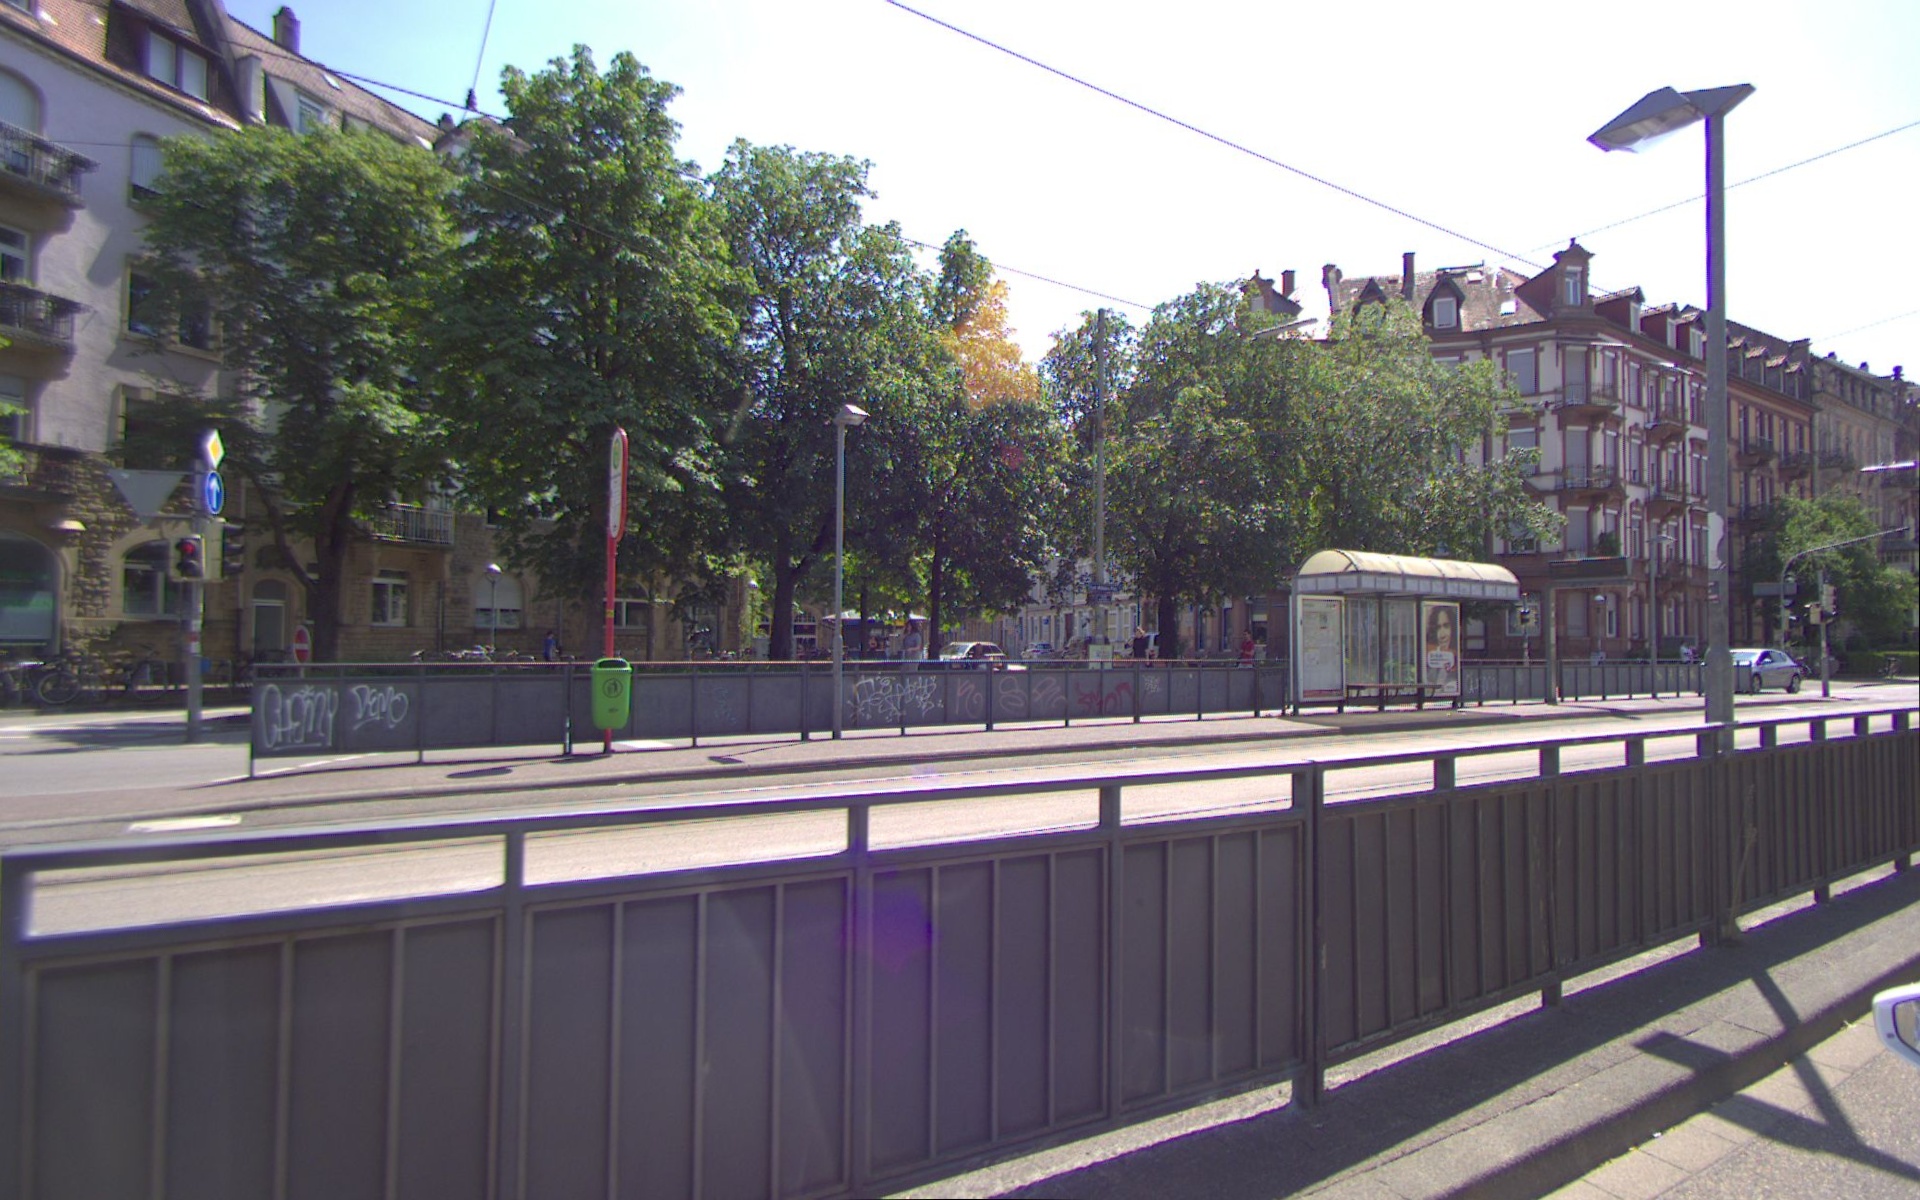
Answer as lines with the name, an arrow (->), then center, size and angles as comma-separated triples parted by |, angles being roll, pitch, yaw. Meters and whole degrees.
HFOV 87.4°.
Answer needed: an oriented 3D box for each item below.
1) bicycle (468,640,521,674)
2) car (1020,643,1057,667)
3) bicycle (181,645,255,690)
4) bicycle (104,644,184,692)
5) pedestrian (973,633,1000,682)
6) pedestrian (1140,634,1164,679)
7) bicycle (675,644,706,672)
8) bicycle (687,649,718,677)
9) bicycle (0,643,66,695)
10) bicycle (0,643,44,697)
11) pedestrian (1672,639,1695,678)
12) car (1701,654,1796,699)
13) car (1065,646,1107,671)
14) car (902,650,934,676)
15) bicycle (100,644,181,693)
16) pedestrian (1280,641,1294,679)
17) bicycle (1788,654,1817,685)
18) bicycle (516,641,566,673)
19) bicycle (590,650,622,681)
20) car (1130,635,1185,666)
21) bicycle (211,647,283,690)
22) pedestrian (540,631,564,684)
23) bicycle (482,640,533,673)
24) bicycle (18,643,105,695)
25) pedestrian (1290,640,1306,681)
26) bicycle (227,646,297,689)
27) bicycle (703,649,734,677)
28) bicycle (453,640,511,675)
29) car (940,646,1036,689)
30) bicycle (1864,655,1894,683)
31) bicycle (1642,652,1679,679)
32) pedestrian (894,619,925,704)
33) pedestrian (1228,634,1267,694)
bicycle -> -14.191, 1.734, 30.631 | 1.460, 0.969, 0.409 | 1, -2, 9
car -> 5.664, 3.973, 72.776 | 1.728, 1.639, 3.994 | 1, -3, -9
bicycle -> -17.318, 1.570, 23.446 | 1.639, 0.987, 0.290 | 1, -2, 8
bicycle -> -17.872, 1.482, 21.996 | 1.639, 0.987, 0.290 | 1, -2, 8
pedestrian -> 0.701, 1.521, 26.683 | 0.539, 1.272, 0.646 | 1, -2, 16
pedestrian -> 5.667, 1.663, 29.609 | 0.606, 1.304, 0.646 | 1, -2, 16
bicycle -> -9.847, 2.098, 36.626 | 0.406, 0.969, 1.471 | 3, -3, -44
bicycle -> -9.496, 2.309, 37.011 | 0.406, 0.969, 1.471 | 3, -3, -44
bicycle -> -18.756, 1.368, 20.082 | 1.639, 0.987, 0.290 | 1, -2, 8
bicycle -> -18.373, 1.315, 19.182 | 1.639, 0.987, 0.290 | 1, -2, 8
pedestrian -> 31.070, 2.492, 43.118 | 0.640, 1.637, 0.470 | 1, 1, 14
car -> 26.064, 2.527, 33.176 | 3.684, 1.356, 1.530 | 3, -3, -36
car -> 7.726, 3.581, 61.757 | 1.514, 1.461, 3.736 | 2, -2, -9
car -> -2.655, 3.927, 62.996 | 1.514, 1.461, 3.736 | 2, -2, -9
bicycle -> -17.647, 1.469, 21.625 | 1.639, 0.987, 0.290 | 1, -2, 8
pedestrian -> 15.518, 2.839, 47.685 | 0.499, 1.791, 0.527 | 0, -2, 34
bicycle -> 39.017, 3.200, 46.517 | 0.605, 1.413, 2.304 | 0, -2, 29
bicycle -> -13.435, 1.811, 32.208 | 1.460, 0.969, 0.409 | 1, -2, 12
bicycle -> -11.916, 2.194, 33.830 | 0.406, 0.969, 1.471 | 3, -3, -44
car -> 9.833, 2.496, 50.236 | 1.514, 1.461, 3.736 | 2, -2, -9
bicycle -> -17.285, 1.655, 24.347 | 1.639, 0.987, 0.290 | 1, -2, 8
pedestrian -> -14.277, 2.012, 35.148 | 0.618, 1.800, 0.607 | 3, -2, -30
bicycle -> -14.105, 1.756, 31.289 | 1.460, 0.969, 0.409 | 1, -2, 12
bicycle -> -18.284, 1.401, 20.446 | 1.639, 0.987, 0.290 | 1, -2, 8
pedestrian -> 15.791, 2.826, 46.920 | 0.555, 1.849, 0.633 | 0, -2, 34
bicycle -> -17.263, 1.662, 24.845 | 1.639, 0.987, 0.290 | 1, -2, 8
bicycle -> -9.005, 2.336, 37.428 | 0.406, 0.969, 1.471 | 3, -3, -44
bicycle -> -14.254, 1.706, 29.955 | 1.639, 0.987, 0.290 | 1, -2, 8
car -> 1.130, 2.680, 39.806 | 3.552, 1.595, 1.568 | 3, -3, -35
bicycle -> 46.741, 3.495, 51.101 | 0.583, 1.374, 2.437 | 0, -2, 29
bicycle -> 31.785, 2.966, 45.554 | 1.491, 1.185, 0.364 | 1, -1, -6
pedestrian -> -1.148, 1.387, 22.780 | 0.488, 1.904, 0.508 | 3, -2, -29
pedestrian -> 7.930, 1.752, 27.698 | 0.766, 1.626, 0.674 | 3, -2, -37
